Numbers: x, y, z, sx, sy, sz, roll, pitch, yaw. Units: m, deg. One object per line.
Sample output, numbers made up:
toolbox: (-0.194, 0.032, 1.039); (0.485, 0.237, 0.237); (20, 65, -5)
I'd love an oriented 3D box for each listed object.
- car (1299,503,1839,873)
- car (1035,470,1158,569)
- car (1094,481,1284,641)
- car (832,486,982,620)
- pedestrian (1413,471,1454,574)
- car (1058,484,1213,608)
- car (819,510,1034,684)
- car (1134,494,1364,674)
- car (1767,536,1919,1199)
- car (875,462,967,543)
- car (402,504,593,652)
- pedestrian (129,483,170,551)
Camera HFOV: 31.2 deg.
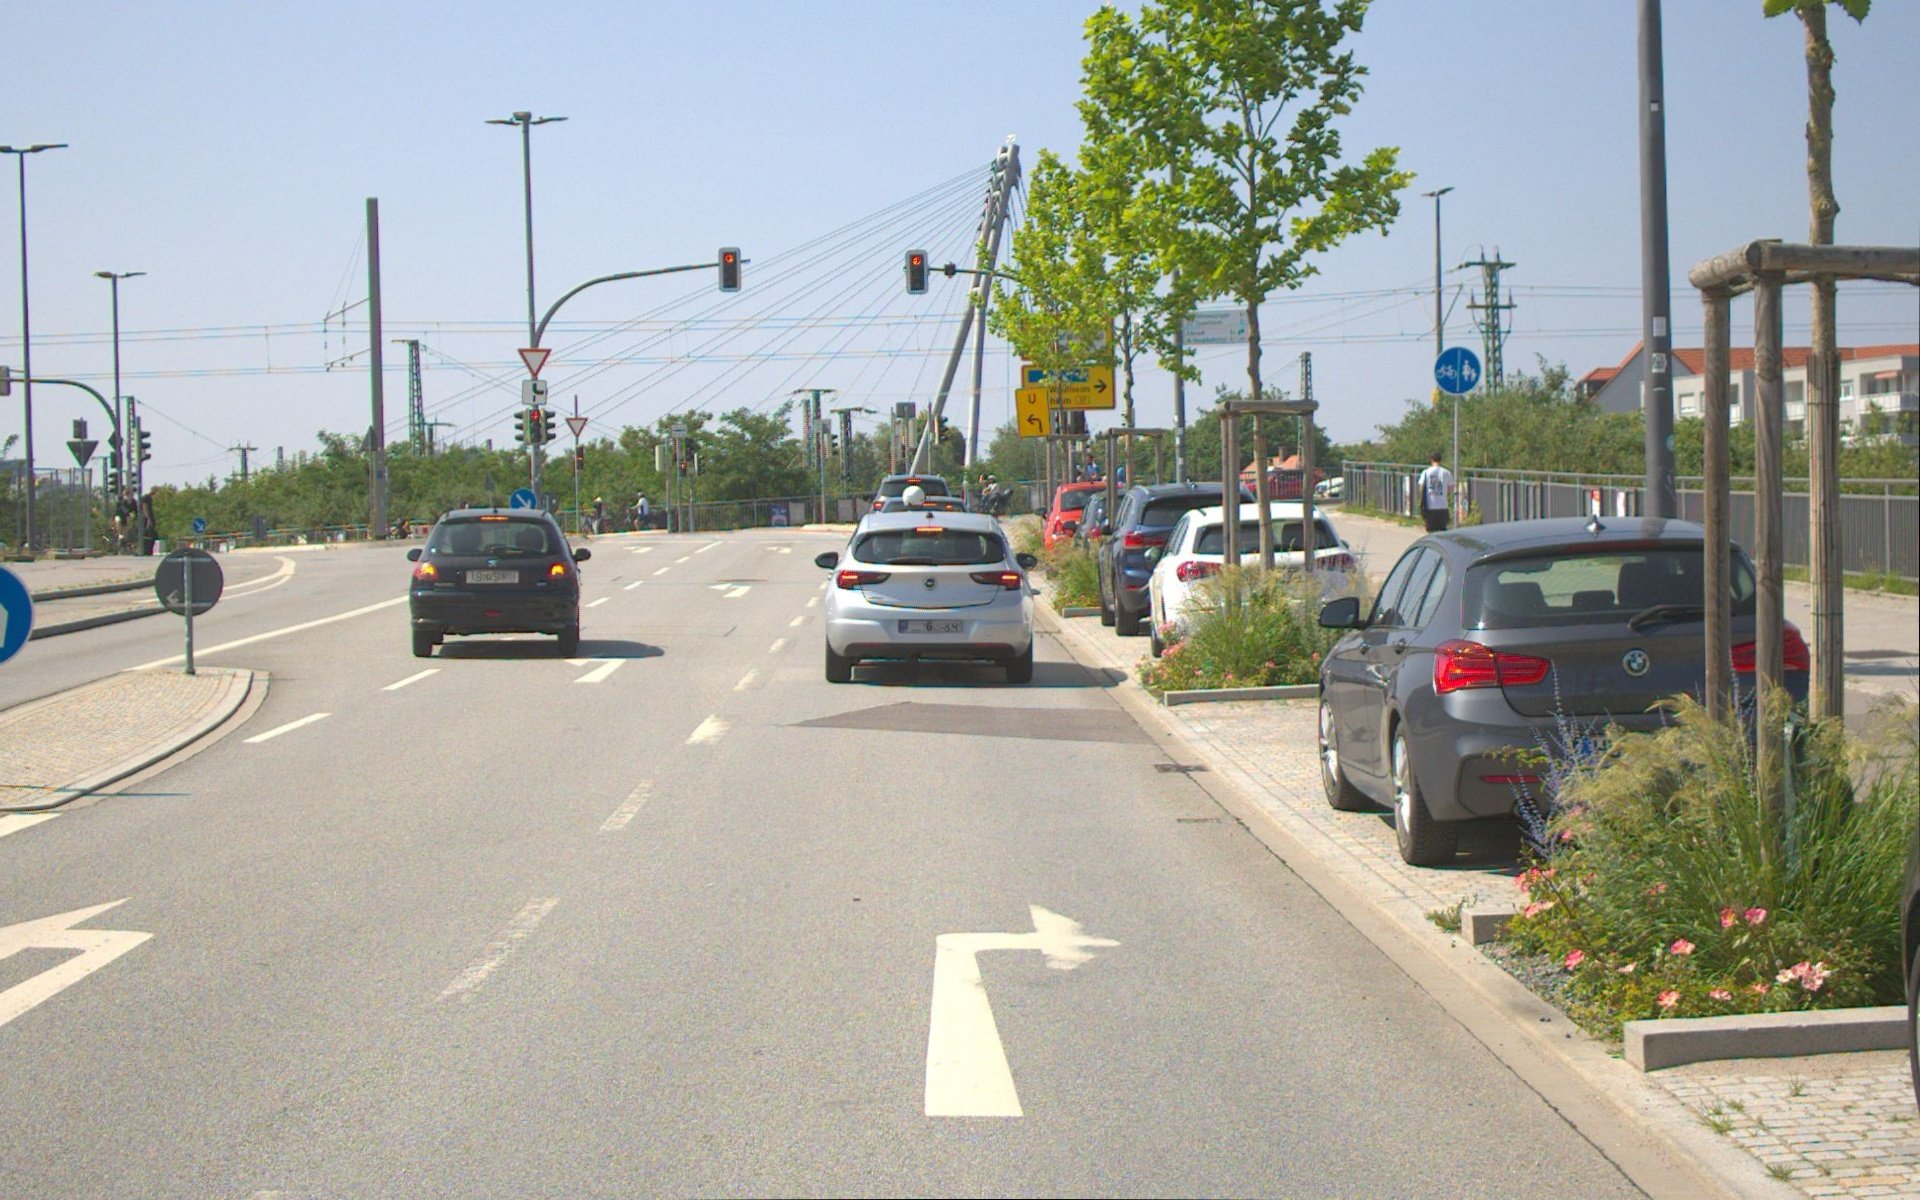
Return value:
car: (2.627, 0.328, 15.775); (1.704, 1.397, 4.270); (-2, 1, 1)
car: (2.183, -1.315, 55.891); (1.778, 1.498, 4.000); (-2, 2, 0)
car: (2.477, -0.470, 37.939); (1.822, 1.611, 3.611); (-2, 2, 1)
car: (-0.654, -0.631, 43.363); (1.778, 1.563, 4.001); (-1, 2, 0)
pedestrian: (7.330, -1.197, 53.228); (0.533, 1.570, 0.524); (1, 0, 0)
car: (2.384, -0.766, 47.553); (1.778, 1.498, 4.000); (-5, 2, 0)
car: (-0.297, -0.073, 30.555); (1.778, 1.437, 4.000); (0, 1, 0)
car: (2.574, -0.191, 31.433); (1.696, 1.470, 4.206); (-2, 2, 0)
car: (2.945, 0.559, 6.466); (1.704, 1.458, 3.954); (-2, 0, -3)
car: (-0.786, -2.004, 69.672); (1.778, 1.563, 4.001); (-1, 2, 0)
car: (-4.629, -0.253, 34.816); (1.619, 1.411, 3.728); (0, 1, -3)
pedestrian: (-19.781, -2.034, 83.928); (0.844, 1.641, 0.828); (0, 1, -5)
